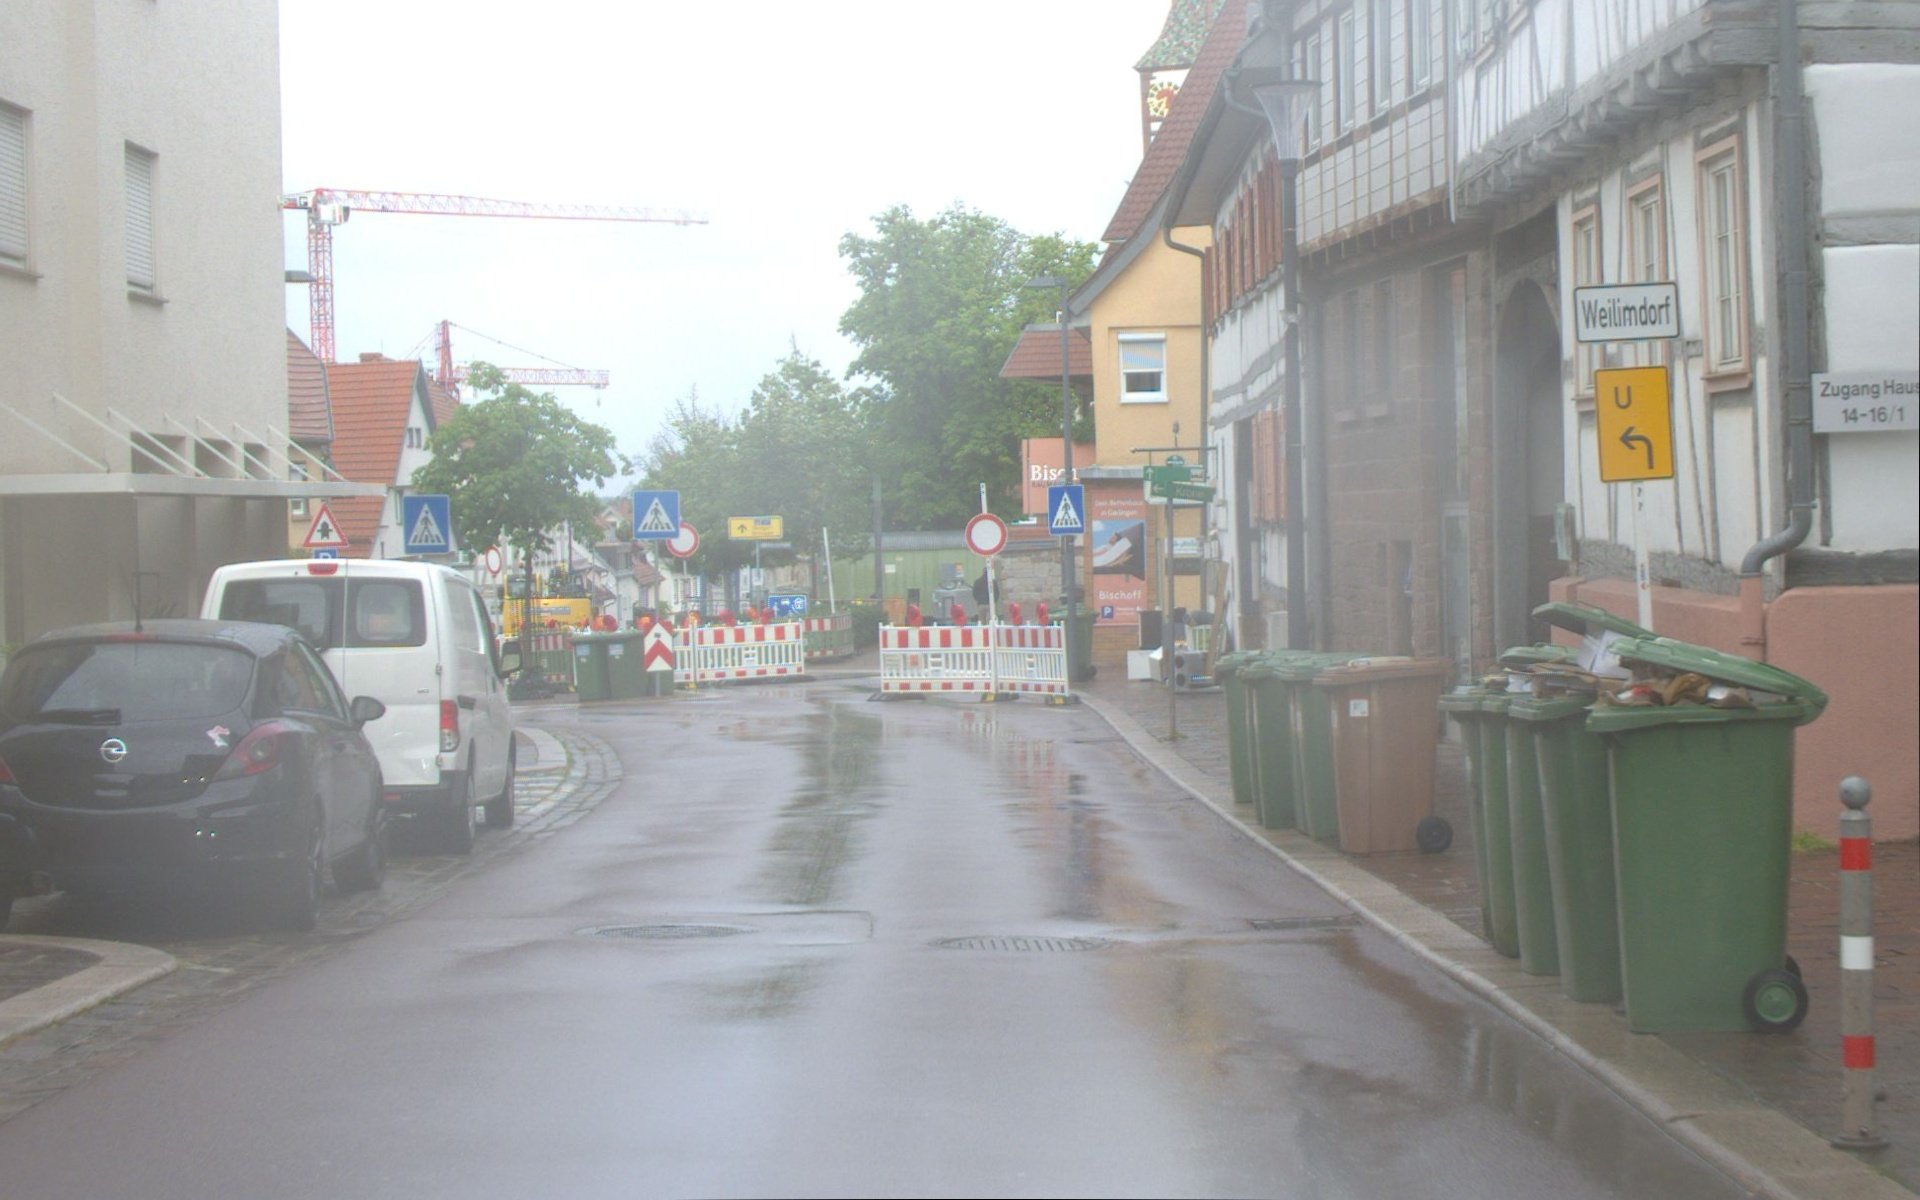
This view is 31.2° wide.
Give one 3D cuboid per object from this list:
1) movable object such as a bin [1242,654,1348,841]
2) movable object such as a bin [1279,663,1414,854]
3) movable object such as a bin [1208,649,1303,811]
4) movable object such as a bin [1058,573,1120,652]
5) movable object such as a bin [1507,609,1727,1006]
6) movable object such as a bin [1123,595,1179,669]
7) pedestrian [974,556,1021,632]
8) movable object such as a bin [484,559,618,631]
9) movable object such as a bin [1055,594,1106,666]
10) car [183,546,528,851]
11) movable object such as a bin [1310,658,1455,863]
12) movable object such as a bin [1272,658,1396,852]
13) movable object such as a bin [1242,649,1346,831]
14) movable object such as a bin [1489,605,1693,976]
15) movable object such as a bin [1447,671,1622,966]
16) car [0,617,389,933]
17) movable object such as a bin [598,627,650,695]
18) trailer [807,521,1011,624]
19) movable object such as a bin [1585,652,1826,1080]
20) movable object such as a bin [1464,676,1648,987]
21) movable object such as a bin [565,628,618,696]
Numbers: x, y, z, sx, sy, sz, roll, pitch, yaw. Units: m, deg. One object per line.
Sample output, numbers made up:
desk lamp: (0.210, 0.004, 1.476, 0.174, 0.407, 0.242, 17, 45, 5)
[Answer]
movable object such as a bin: (2.094, 0.916, 21.525, 0.638, 1.143, 0.603, -1, 0, 4)
movable object such as a bin: (2.266, 0.922, 20.203, 0.669, 1.078, 0.588, -2, -1, -2)
movable object such as a bin: (2.098, 0.917, 24.476, 0.609, 1.124, 0.599, -1, 0, -1)
movable object such as a bin: (2.630, 0.256, 70.071, 1.065, 1.507, 1.242, -4, 1, 7)
movable object such as a bin: (2.181, 0.676, 11.473, 0.638, 1.286, 0.632, -1, 0, 4)
movable object such as a bin: (2.849, 0.479, 51.323, 0.678, 1.062, 0.540, -3, 0, -8)
pedestrian: (0.868, -0.134, 80.127, 0.990, 1.753, 0.852, -1, 0, -7)
movable object such as a bin: (-11.714, -0.135, 98.789, 3.402, 2.007, 3.478, -1, 0, 1)
movable object such as a bin: (1.844, 0.460, 52.406, 0.616, 1.062, 0.539, -3, -1, 16)
car: (-3.929, 0.600, 22.981, 1.723, 1.819, 4.429, -1, 0, -3)
movable object such as a bin: (2.317, 0.871, 18.911, 0.678, 1.093, 0.650, 0, 0, -4)
movable object such as a bin: (2.263, 0.932, 20.854, 0.638, 1.143, 0.632, -1, 0, -3)
movable object such as a bin: (2.147, 0.893, 22.135, 0.638, 1.143, 0.580, -1, 0, 4)
movable object such as a bin: (2.238, 0.663, 12.259, 0.638, 1.286, 0.632, -1, 0, 4)
movable object such as a bin: (2.270, 0.855, 13.636, 0.616, 1.127, 0.632, -1, 0, 4)
car: (-3.909, 0.793, 17.289, 1.680, 1.384, 3.826, -1, 0, -4)
movable object such as a bin: (-5.233, 0.943, 53.536, 0.544, 1.029, 0.533, -4, -2, 33)
trailer: (-1.519, -0.802, 100.569, 5.780, 2.937, 2.000, -1, 0, -5)
movable object such as a bin: (2.316, 0.811, 10.736, 0.638, 1.286, 0.632, -1, 0, 4)
movable object such as a bin: (2.239, 0.861, 12.967, 0.616, 1.127, 0.632, -1, 0, 4)
movable object such as a bin: (-5.775, 0.977, 53.880, 0.541, 1.033, 0.571, -3, -2, 33)
